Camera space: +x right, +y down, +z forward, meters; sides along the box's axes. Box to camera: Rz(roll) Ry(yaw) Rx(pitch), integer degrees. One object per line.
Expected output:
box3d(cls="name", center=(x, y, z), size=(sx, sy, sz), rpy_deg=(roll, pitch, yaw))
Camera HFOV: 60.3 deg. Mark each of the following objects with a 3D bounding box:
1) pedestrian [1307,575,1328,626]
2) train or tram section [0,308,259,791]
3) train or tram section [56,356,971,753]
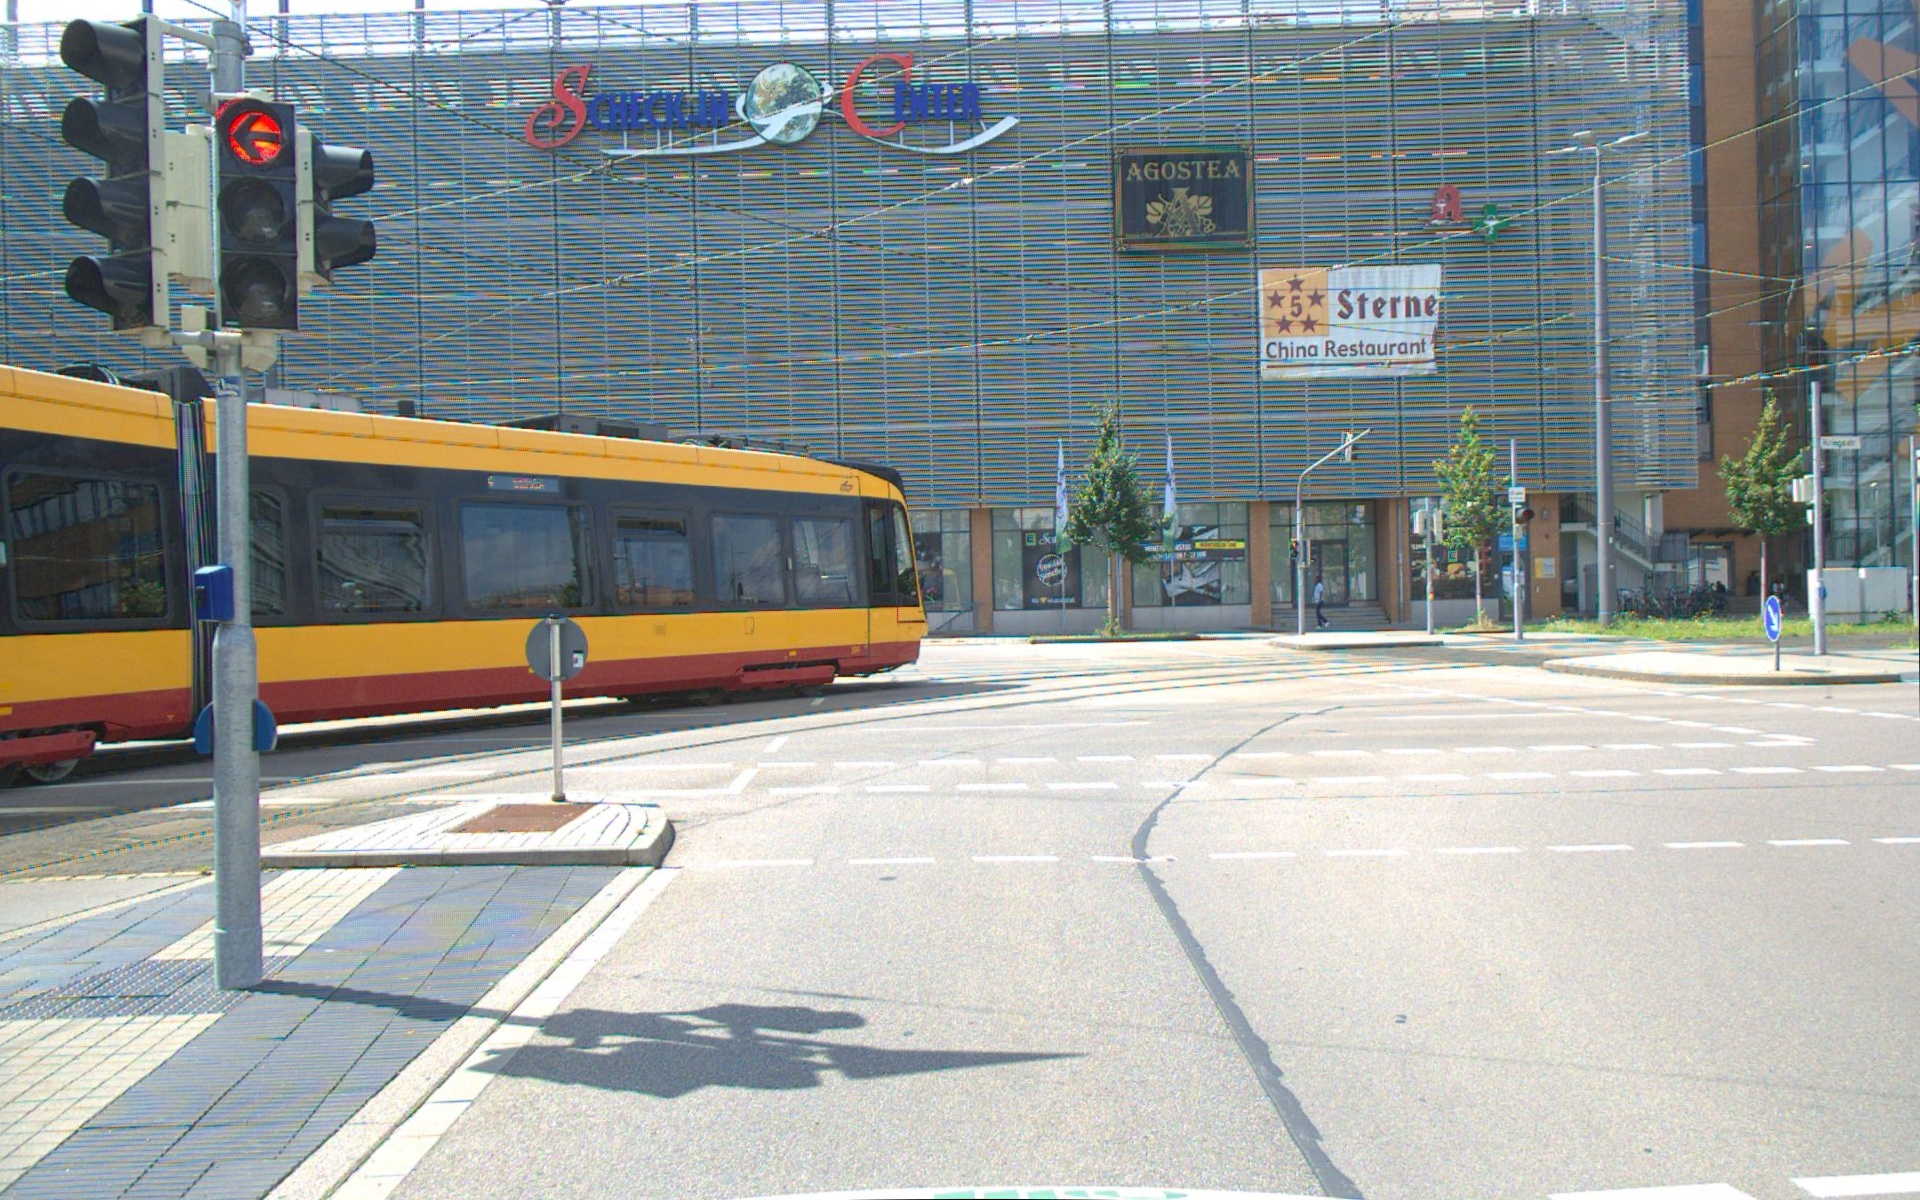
box3d(cls="pedestrian", center=(12.752, 0.015, 59.047), size=(0.605, 1.776, 0.629), rpy_deg=(0, 0, 1))
box3d(cls="train or tram section", center=(-9.299, -0.303, 10.416), size=(2.990, 3.666, 11.003), rpy_deg=(-2, 0, 13))
box3d(cls="train or tram section", center=(-4.559, -0.534, 21.449), size=(3.001, 3.684, 12.601), rpy_deg=(-2, 0, 33))
